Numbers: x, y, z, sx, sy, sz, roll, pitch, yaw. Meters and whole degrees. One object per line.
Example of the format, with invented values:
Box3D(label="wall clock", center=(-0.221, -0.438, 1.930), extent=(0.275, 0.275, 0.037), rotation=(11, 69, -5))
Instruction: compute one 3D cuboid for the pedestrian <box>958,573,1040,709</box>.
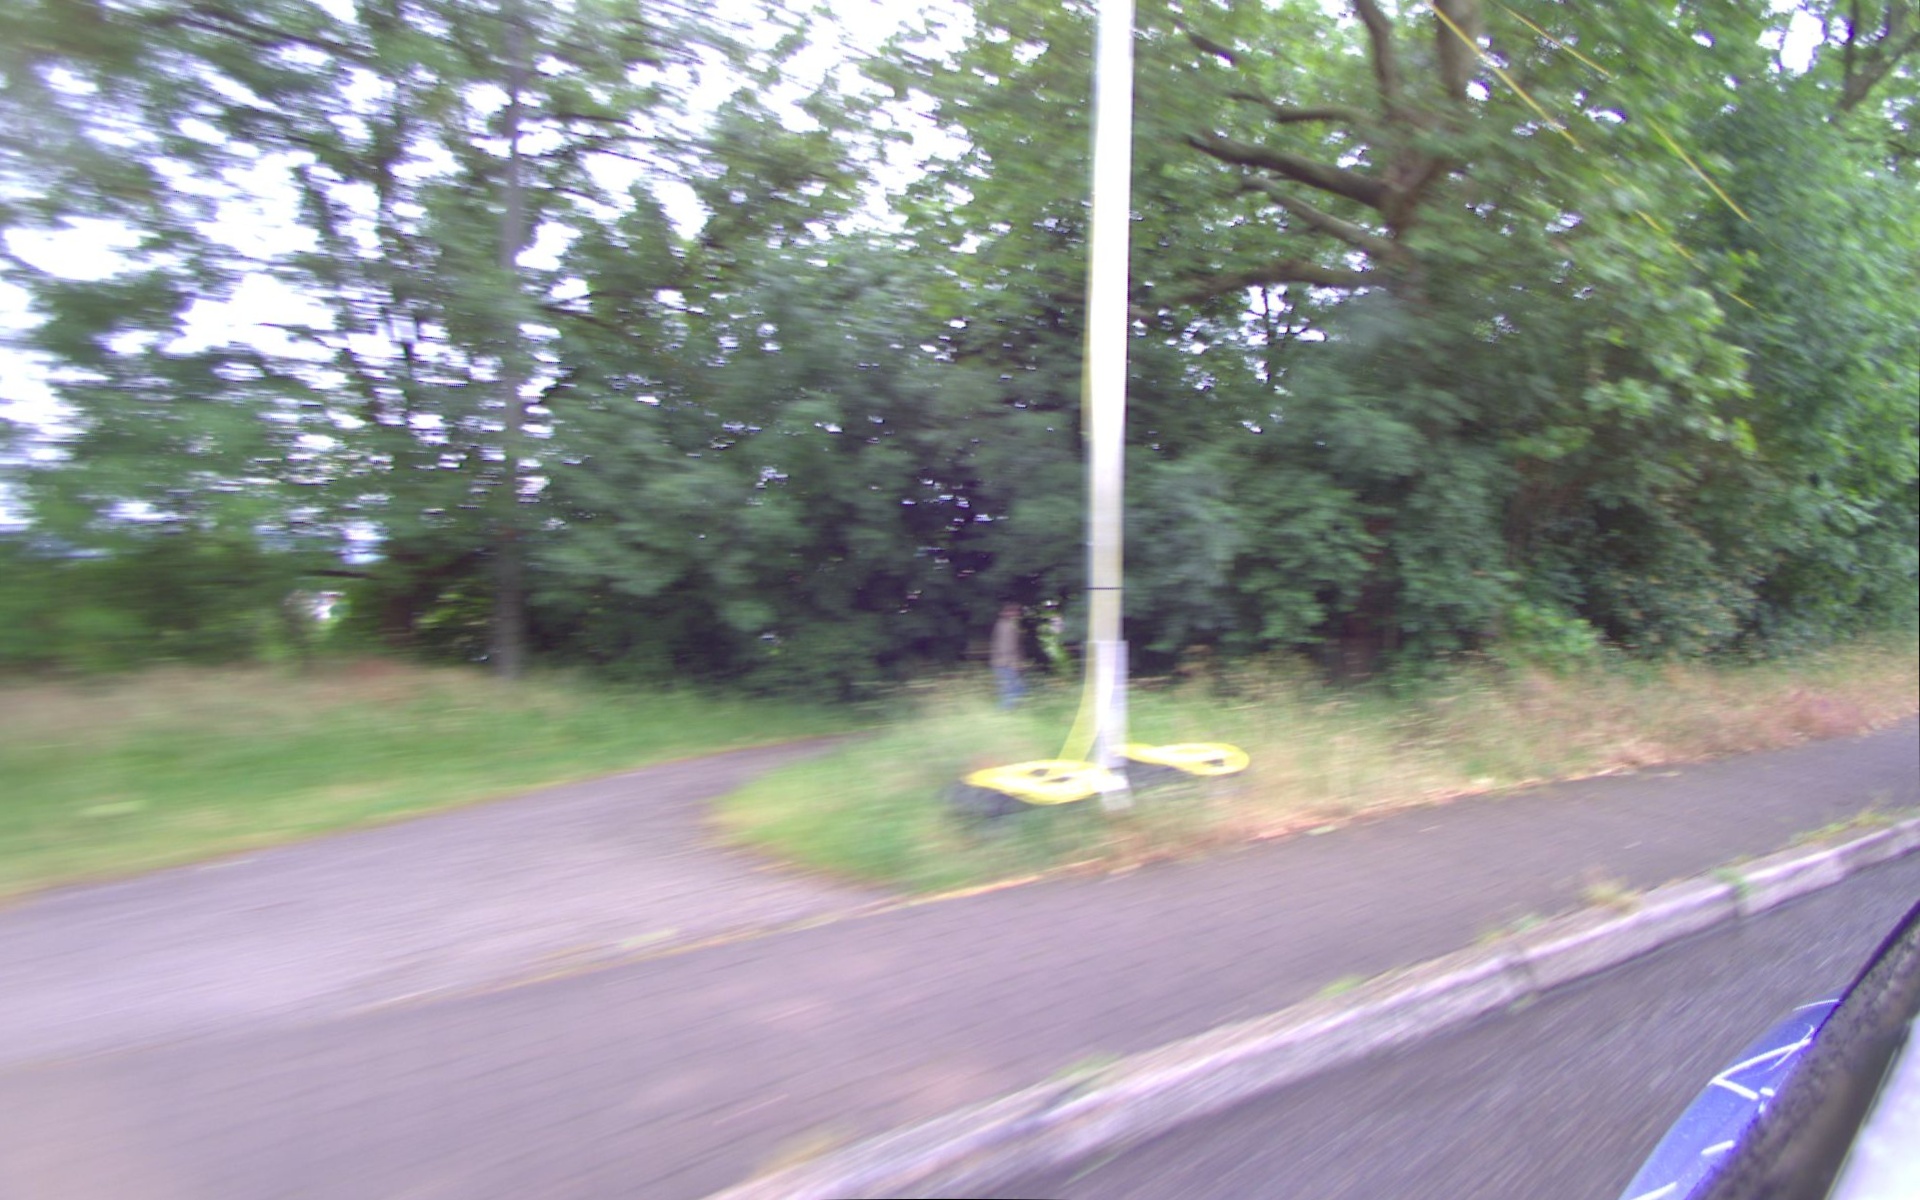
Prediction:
Box3D(label="pedestrian", center=(0.490, 0.489, 12.645), extent=(0.728, 1.624, 0.742), rotation=(-1, 0, 37))
